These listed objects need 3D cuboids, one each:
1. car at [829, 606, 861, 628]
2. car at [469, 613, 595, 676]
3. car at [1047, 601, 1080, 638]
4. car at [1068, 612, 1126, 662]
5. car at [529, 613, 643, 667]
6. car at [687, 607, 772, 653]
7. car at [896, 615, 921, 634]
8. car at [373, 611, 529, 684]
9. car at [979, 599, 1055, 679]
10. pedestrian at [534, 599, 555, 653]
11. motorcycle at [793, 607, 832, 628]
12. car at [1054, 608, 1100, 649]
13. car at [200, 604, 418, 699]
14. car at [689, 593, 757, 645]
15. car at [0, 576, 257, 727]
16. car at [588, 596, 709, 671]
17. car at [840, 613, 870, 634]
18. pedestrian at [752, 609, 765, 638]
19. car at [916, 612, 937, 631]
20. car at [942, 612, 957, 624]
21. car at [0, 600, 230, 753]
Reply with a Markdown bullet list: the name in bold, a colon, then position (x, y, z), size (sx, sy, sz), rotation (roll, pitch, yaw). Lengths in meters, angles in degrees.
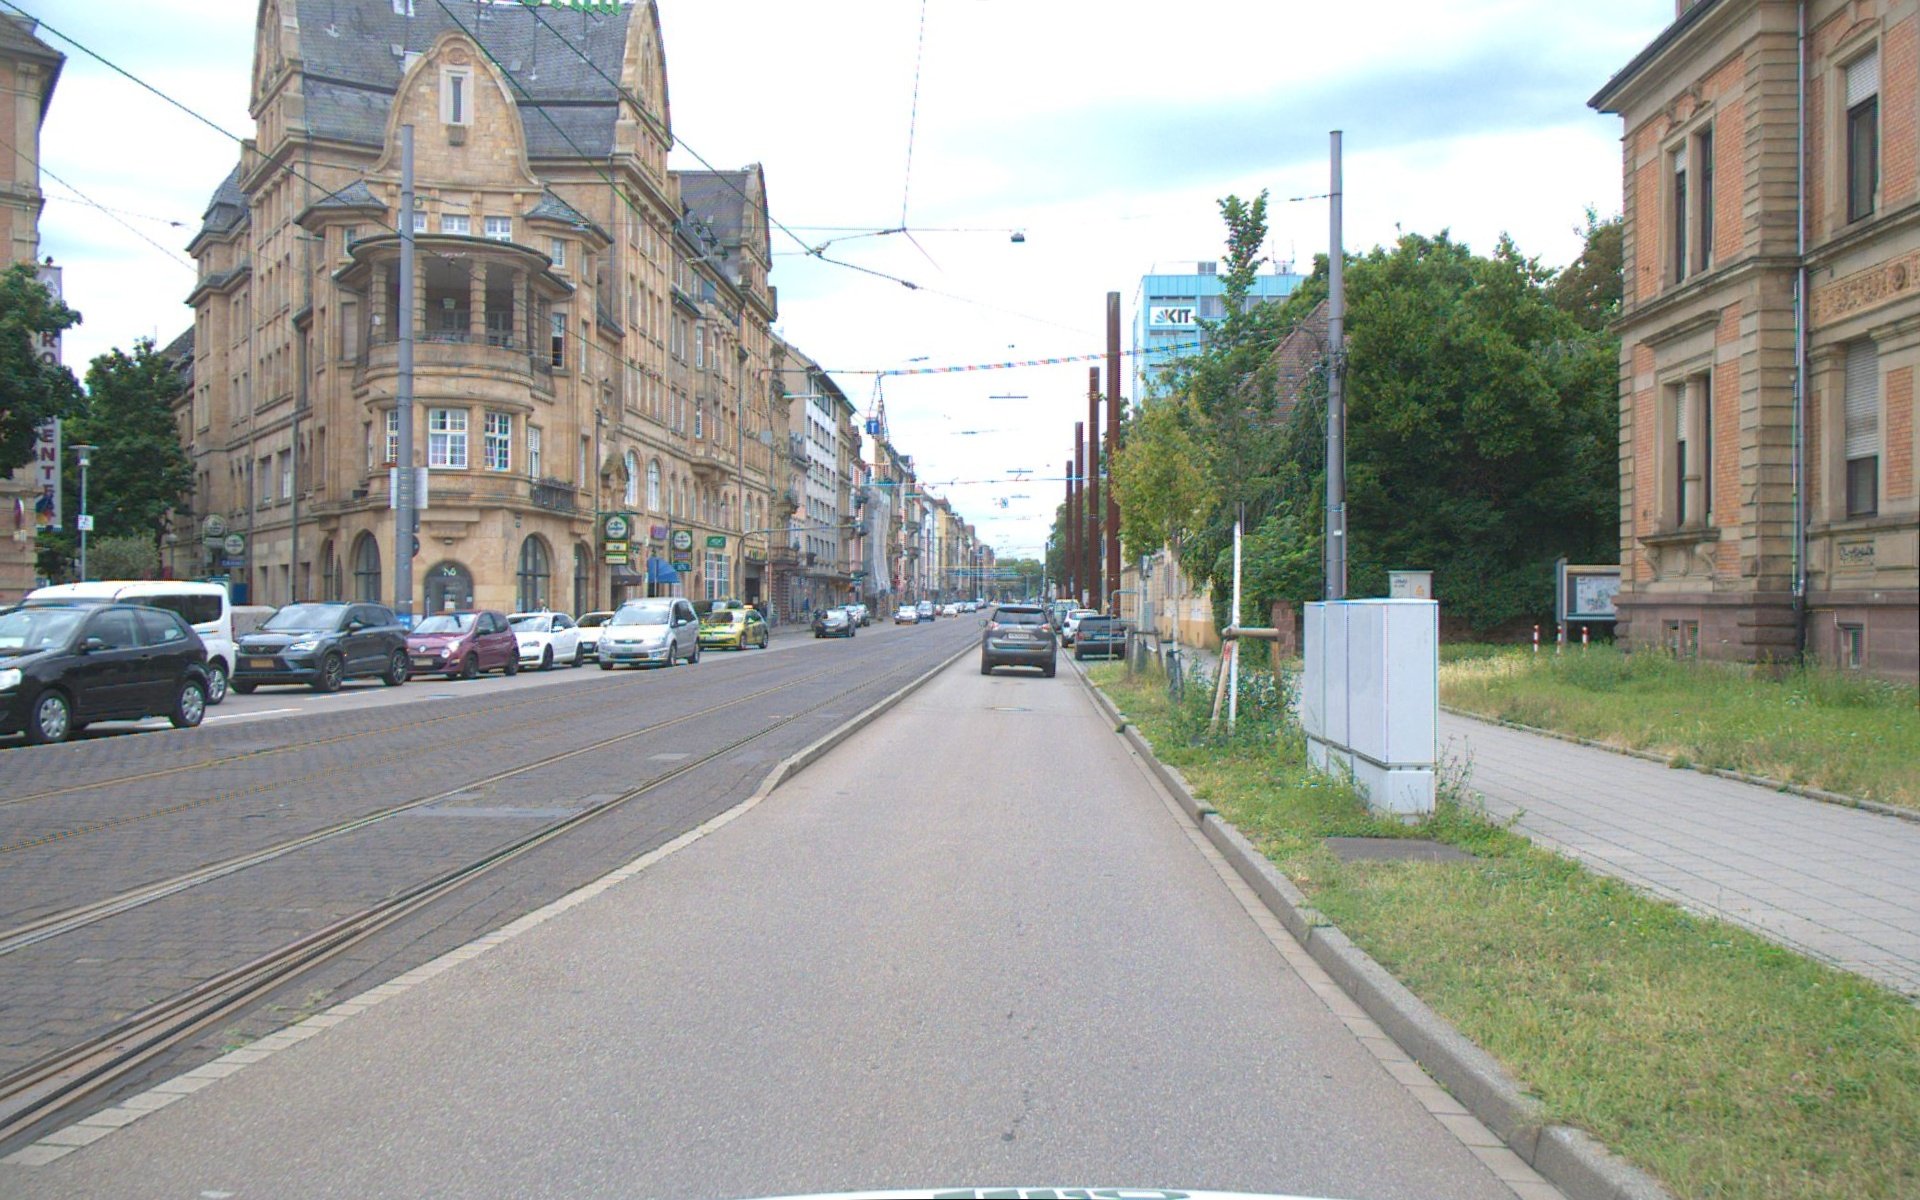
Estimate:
- **car**: position (-7.993, 1.167, 115.315), size (1.739, 1.531, 4.403), rotation (0, 0, 2)
- **car**: position (-10.581, 1.068, 41.179), size (1.710, 1.404, 4.364), rotation (-2, 0, 3)
- **car**: position (6.268, 1.178, 100.848), size (1.813, 2.152, 4.985), rotation (-2, 0, 2)
- **car**: position (4.313, 1.136, 52.520), size (1.603, 1.459, 3.931), rotation (-2, 0, 2)
- **car**: position (-10.392, 1.074, 46.263), size (1.886, 1.404, 4.260), rotation (0, 0, 5)
- **car**: position (-8.212, 1.039, 59.251), size (1.858, 1.537, 4.431), rotation (-1, 0, 8)
- **car**: position (-4.155, 2.003, 134.146), size (1.722, 1.475, 4.615), rotation (0, 0, 2)
- **car**: position (-10.915, 0.988, 35.737), size (1.823, 1.423, 3.897), rotation (-2, 0, 6)
- **car**: position (1.412, 0.916, 40.481), size (1.713, 1.786, 3.925), rotation (2, 0, 2)
- **pedestrian**: position (-13.425, 0.837, 53.410), size (0.619, 1.749, 0.531), rotation (0, -1, -12)
- **motorcycle**: position (-9.193, 1.080, 103.098), size (2.316, 1.325, 0.873), rotation (1, -1, -34)
- **car**: position (4.866, 1.163, 69.310), size (1.719, 1.602, 3.931), rotation (-2, 0, 2)
- **car**: position (-11.686, 0.884, 30.031), size (1.823, 1.561, 4.305), rotation (-2, 0, 7)
- **car**: position (-9.682, 0.768, 68.006), size (1.859, 2.012, 5.098), rotation (-2, 0, 2)
- **car**: position (-12.444, 0.675, 23.986), size (1.823, 1.949, 5.104), rotation (0, 0, 7)
- **car**: position (-7.725, 0.794, 41.468), size (1.824, 1.736, 4.911), rotation (-1, 0, 3)
- **car**: position (-7.699, 1.697, 121.924), size (1.739, 1.531, 4.403), rotation (0, 0, 2)
- **pedestrian**: position (-11.196, 1.319, 91.928), size (0.556, 1.626, 0.718), rotation (0, -1, 2)
- **car**: position (-3.125, 1.969, 154.450), size (1.722, 1.701, 4.615), rotation (0, 0, 2)
- **car**: position (-1.314, 2.192, 200.866), size (1.652, 1.445, 4.136), rotation (0, 0, 2)
- **car**: position (-9.796, 0.747, 17.946), size (1.653, 1.467, 4.003), rotation (0, -1, 6)
